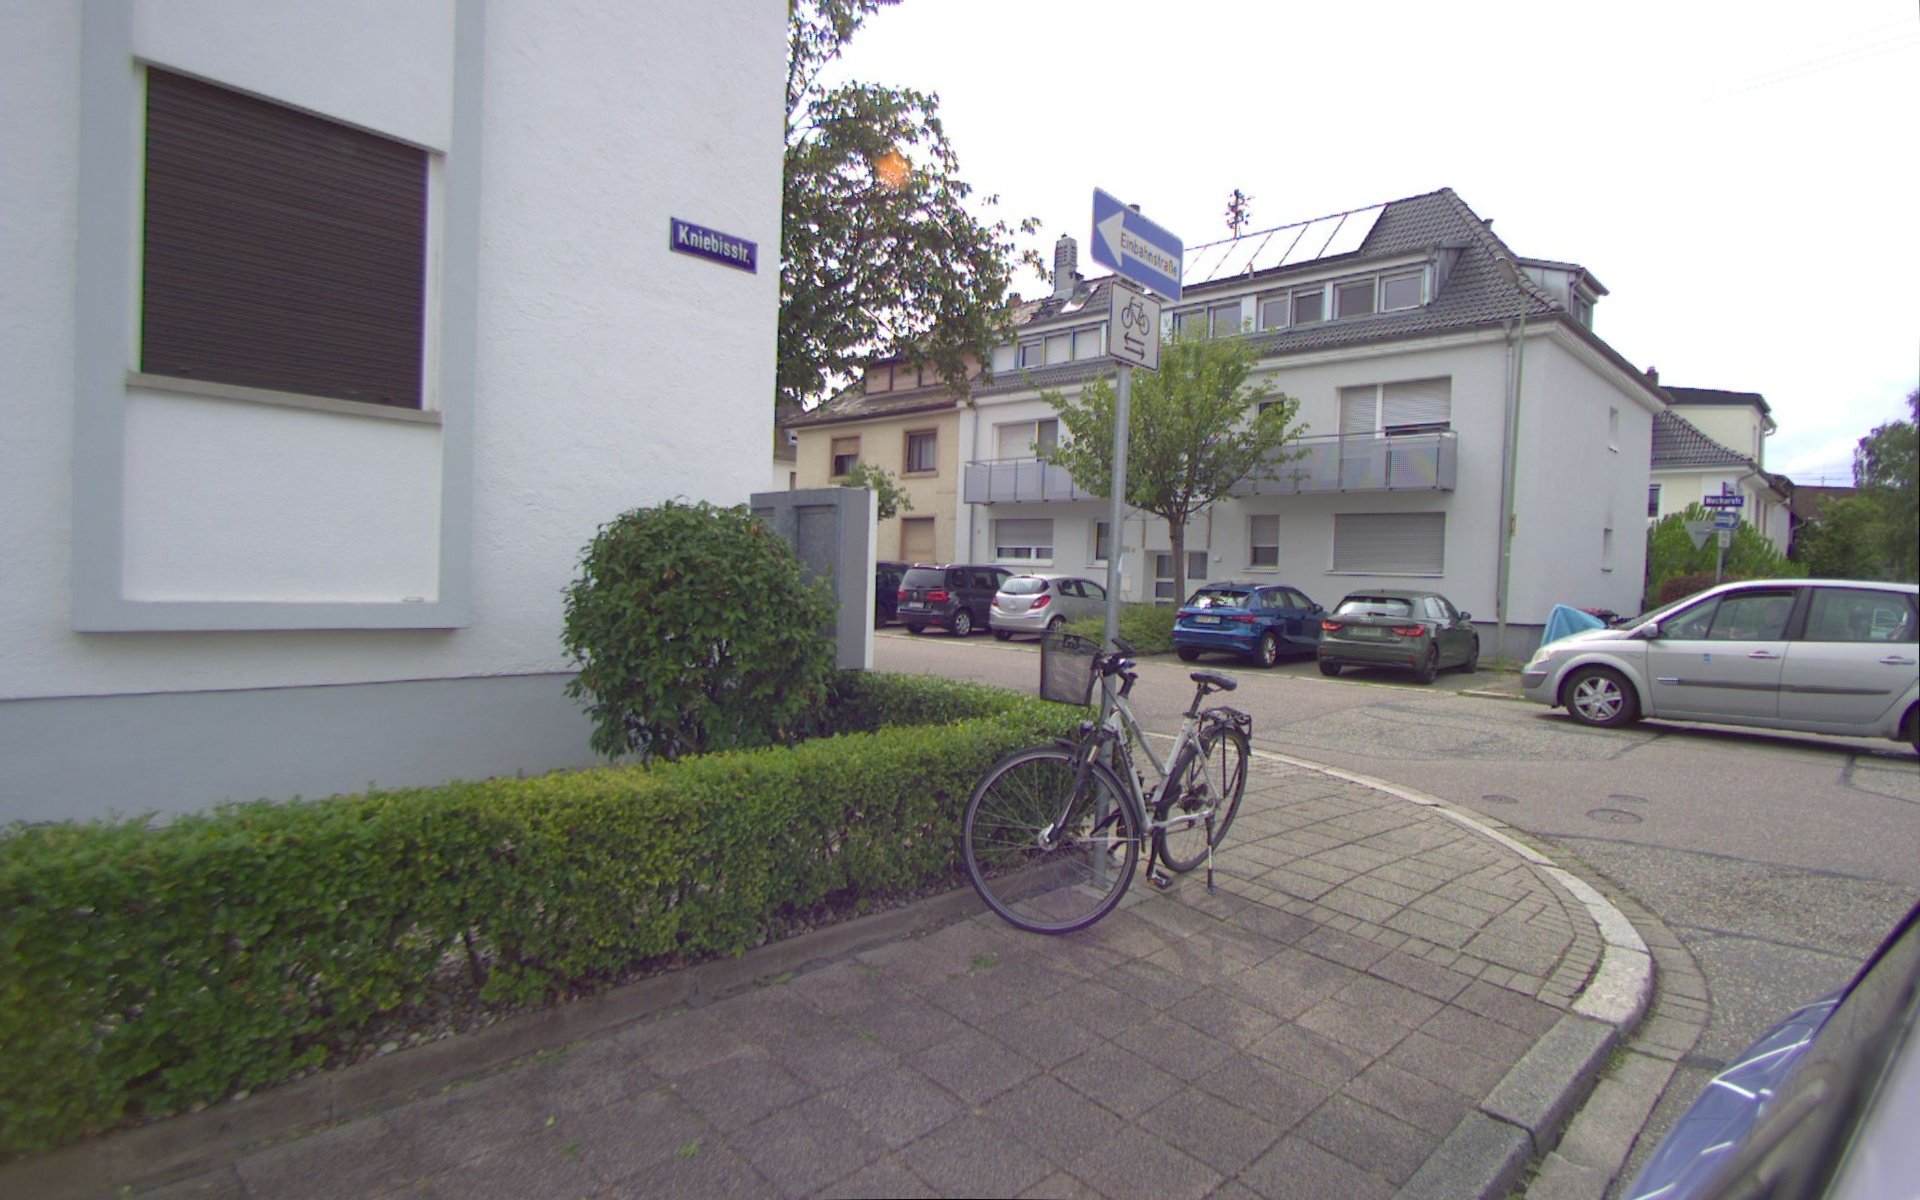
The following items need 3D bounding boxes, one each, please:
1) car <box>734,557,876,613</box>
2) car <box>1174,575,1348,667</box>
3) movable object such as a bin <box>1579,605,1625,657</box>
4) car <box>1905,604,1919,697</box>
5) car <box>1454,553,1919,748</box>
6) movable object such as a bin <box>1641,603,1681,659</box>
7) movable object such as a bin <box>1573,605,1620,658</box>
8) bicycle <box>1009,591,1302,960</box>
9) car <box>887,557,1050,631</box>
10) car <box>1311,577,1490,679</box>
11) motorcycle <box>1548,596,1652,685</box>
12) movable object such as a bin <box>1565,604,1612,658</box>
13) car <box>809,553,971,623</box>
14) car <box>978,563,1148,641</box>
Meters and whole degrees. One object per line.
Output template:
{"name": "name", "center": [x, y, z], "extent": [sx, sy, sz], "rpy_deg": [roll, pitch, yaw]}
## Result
{"name": "car", "center": [-4.517, -0.496, 29.885], "extent": [1.718, 1.537, 3.937], "rpy_deg": [3, 4, 44]}
{"name": "car", "center": [5.513, 0.300, 18.346], "extent": [1.555, 1.429, 3.473], "rpy_deg": [3, 4, 45]}
{"name": "movable object such as a bin", "center": [13.385, 0.635, 21.093], "extent": [0.697, 1.020, 0.513], "rpy_deg": [3, 1, 43]}
{"name": "car", "center": [16.213, 0.832, 15.940], "extent": [1.656, 1.461, 3.760], "rpy_deg": [3, 2, 39]}
{"name": "car", "center": [7.884, 0.399, 10.279], "extent": [4.823, 1.624, 1.761], "rpy_deg": [4, 2, 45]}
{"name": "movable object such as a bin", "center": [13.474, 0.589, 19.446], "extent": [0.546, 1.020, 0.603], "rpy_deg": [3, 1, 41]}
{"name": "movable object such as a bin", "center": [13.019, 0.634, 20.701], "extent": [0.697, 1.020, 0.513], "rpy_deg": [3, 1, 43]}
{"name": "bicycle", "center": [0.872, 0.589, 4.172], "extent": [0.433, 1.193, 1.615], "rpy_deg": [3, 3, 40]}
{"name": "car", "center": [0.250, -0.205, 23.937], "extent": [3.699, 1.583, 1.769], "rpy_deg": [-2, 4, -44]}
{"name": "car", "center": [7.425, 0.368, 16.890], "extent": [1.765, 1.382, 3.707], "rpy_deg": [3, 4, 40]}
{"name": "motorcycle", "center": [9.834, 0.580, 15.518], "extent": [0.937, 1.225, 2.166], "rpy_deg": [3, 2, 43]}
{"name": "movable object such as a bin", "center": [12.606, 0.611, 20.294], "extent": [0.697, 1.020, 0.513], "rpy_deg": [3, 1, 43]}
{"name": "car", "center": [-1.749, -0.378, 26.190], "extent": [3.935, 1.637, 1.863], "rpy_deg": [-2, 4, -45]}
{"name": "car", "center": [2.370, -0.036, 22.619], "extent": [1.718, 1.537, 3.937], "rpy_deg": [3, 4, 44]}
